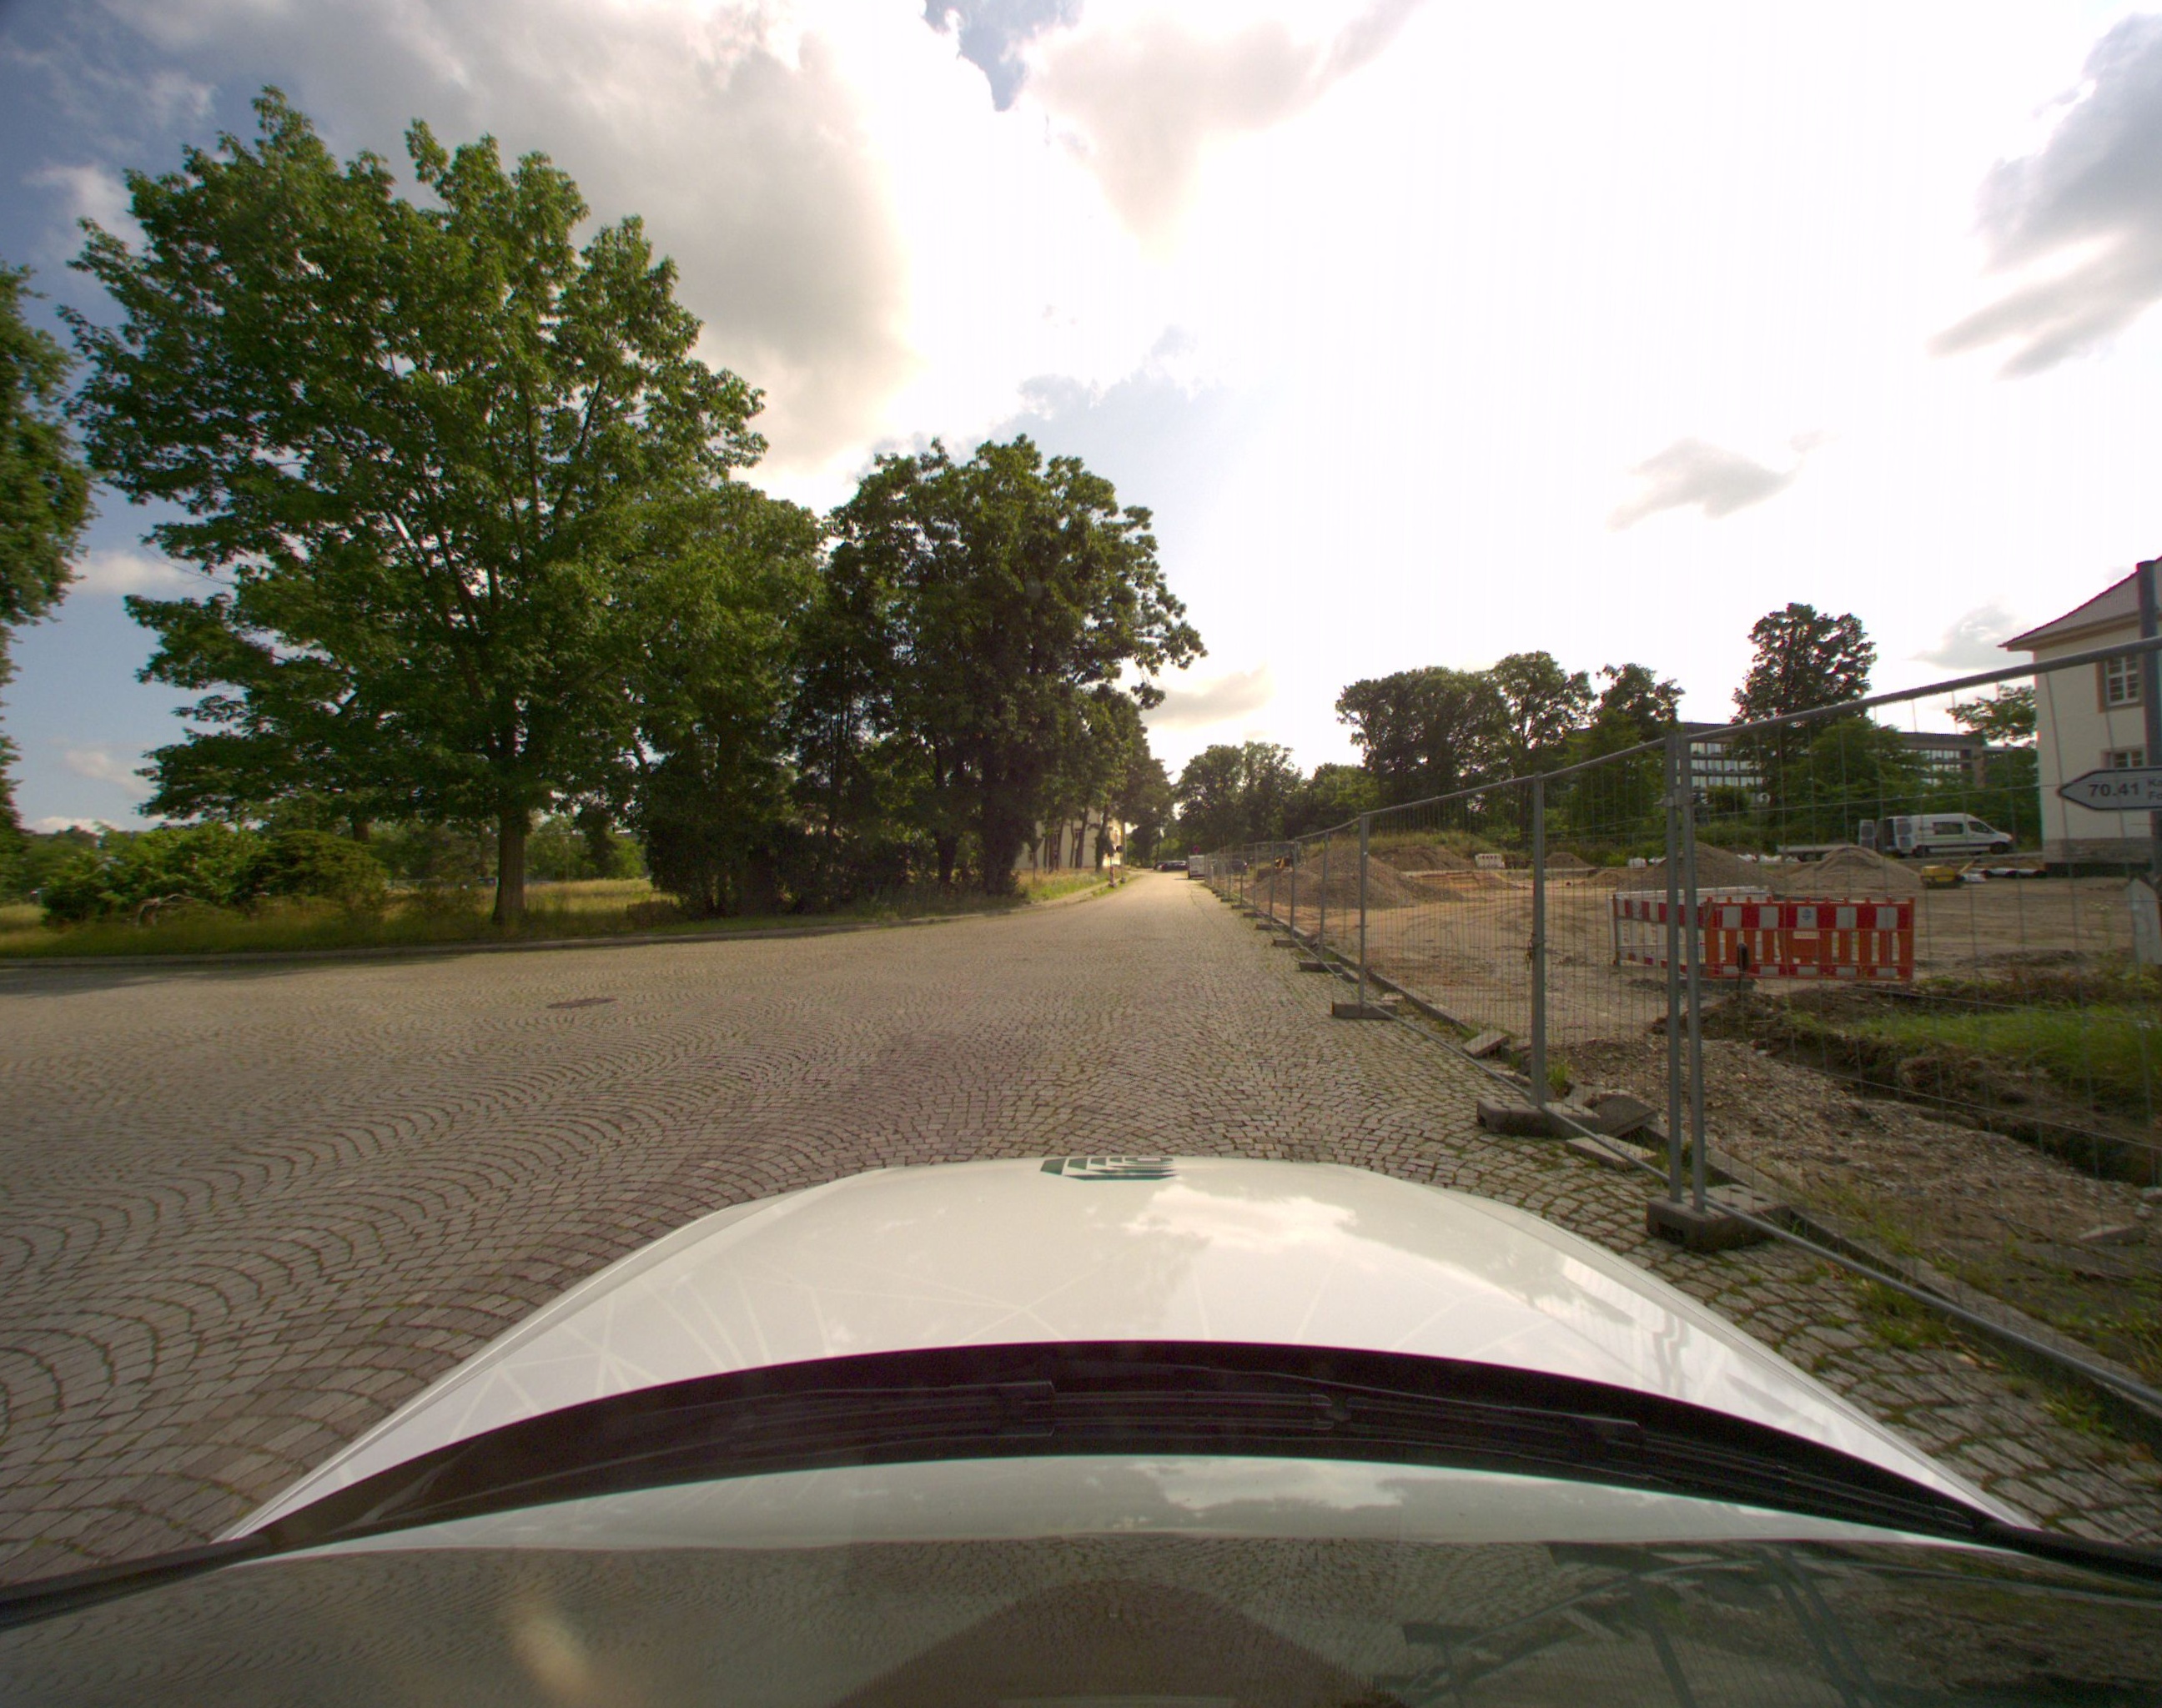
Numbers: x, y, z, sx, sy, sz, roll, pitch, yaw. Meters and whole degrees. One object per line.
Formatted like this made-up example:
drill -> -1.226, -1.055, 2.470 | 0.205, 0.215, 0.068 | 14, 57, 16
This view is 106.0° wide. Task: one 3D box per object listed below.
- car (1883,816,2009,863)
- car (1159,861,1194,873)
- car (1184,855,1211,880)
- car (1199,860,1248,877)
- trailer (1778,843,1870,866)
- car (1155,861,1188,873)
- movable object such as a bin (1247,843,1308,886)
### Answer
car -> 52.047, -0.850, 49.136 | 4.763, 2.643, 2.065 | -1, -1, 18
car -> 13.829, 1.913, 118.345 | 4.764, 1.641, 2.000 | -1, -1, 0
car -> 10.034, 1.168, 70.220 | 1.984, 2.014, 4.096 | -1, -1, 4
car -> 13.291, 1.325, 75.888 | 4.371, 1.510, 2.007 | 0, -1, 13
trailer -> 46.756, 0.034, 51.369 | 3.948, 1.354, 2.101 | -2, -1, 31
car -> 13.514, 1.957, 121.476 | 4.764, 1.641, 2.000 | -1, -1, 0
movable object such as a bin -> 12.547, 0.638, 51.834 | 2.108, 2.593, 4.821 | -2, -1, 35
